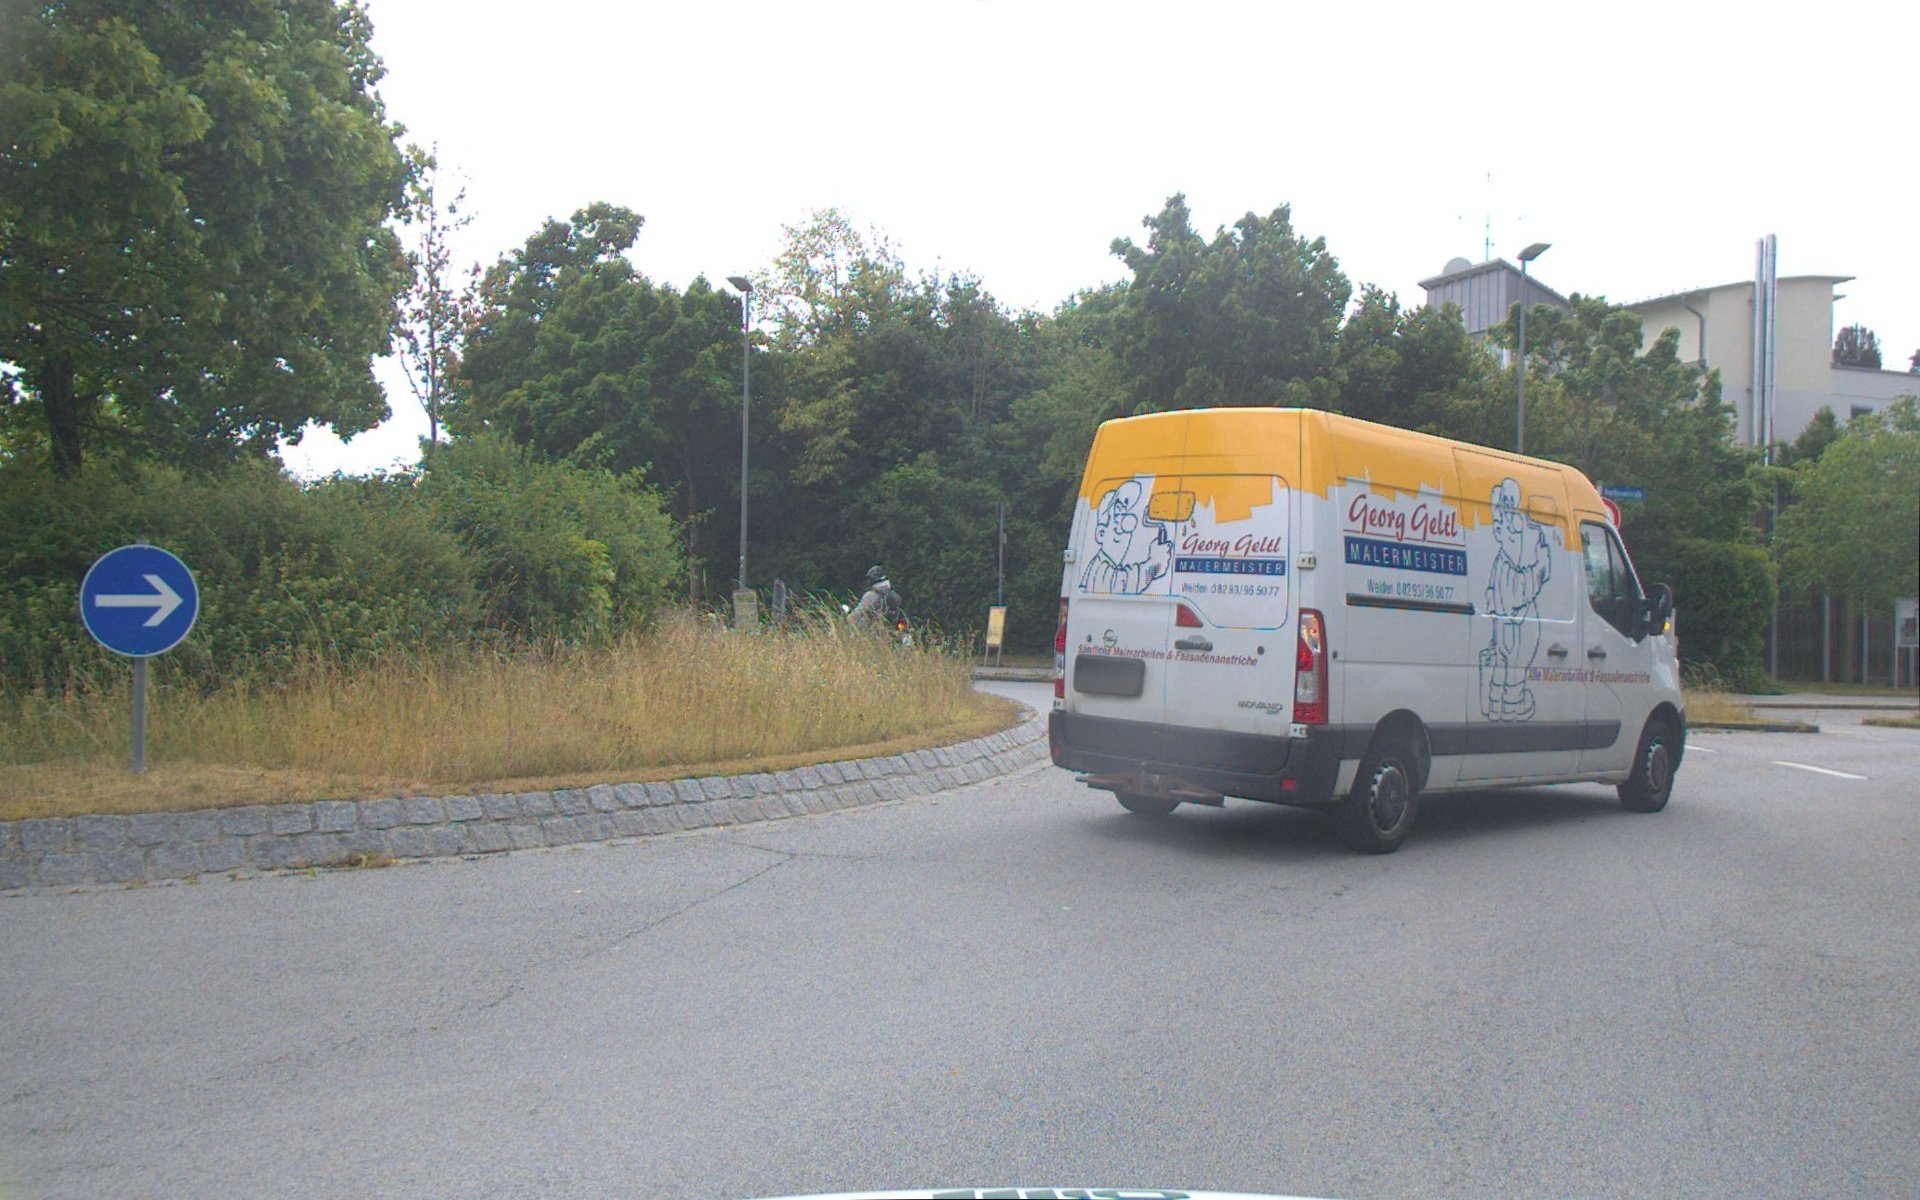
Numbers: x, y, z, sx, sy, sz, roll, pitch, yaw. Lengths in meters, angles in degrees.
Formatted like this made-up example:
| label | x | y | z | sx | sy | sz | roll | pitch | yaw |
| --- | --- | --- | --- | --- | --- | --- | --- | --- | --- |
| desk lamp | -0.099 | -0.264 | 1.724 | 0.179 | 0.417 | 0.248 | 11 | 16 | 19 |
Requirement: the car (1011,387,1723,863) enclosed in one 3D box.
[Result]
| label | x | y | z | sx | sy | sz | roll | pitch | yaw |
| --- | --- | --- | --- | --- | --- | --- | --- | --- | --- |
| car | 3.025 | 0.164 | 11.329 | 5.399 | 2.494 | 2.135 | 2 | 0 | -44 |

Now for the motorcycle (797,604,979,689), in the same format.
| label | x | y | z | sx | sy | sz | roll | pitch | yaw |
| --- | --- | --- | --- | --- | --- | --- | --- | --- | --- |
| motorcycle | -1.080 | 0.680 | 24.794 | 2.557 | 1.178 | 0.900 | 1 | 0 | 20 |

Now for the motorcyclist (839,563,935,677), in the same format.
| label | x | y | z | sx | sy | sz | roll | pitch | yaw |
| --- | --- | --- | --- | --- | --- | --- | --- | --- | --- |
| motorcyclist | -1.088 | 0.294 | 24.810 | 1.162 | 1.652 | 0.864 | 1 | 0 | 20 |
